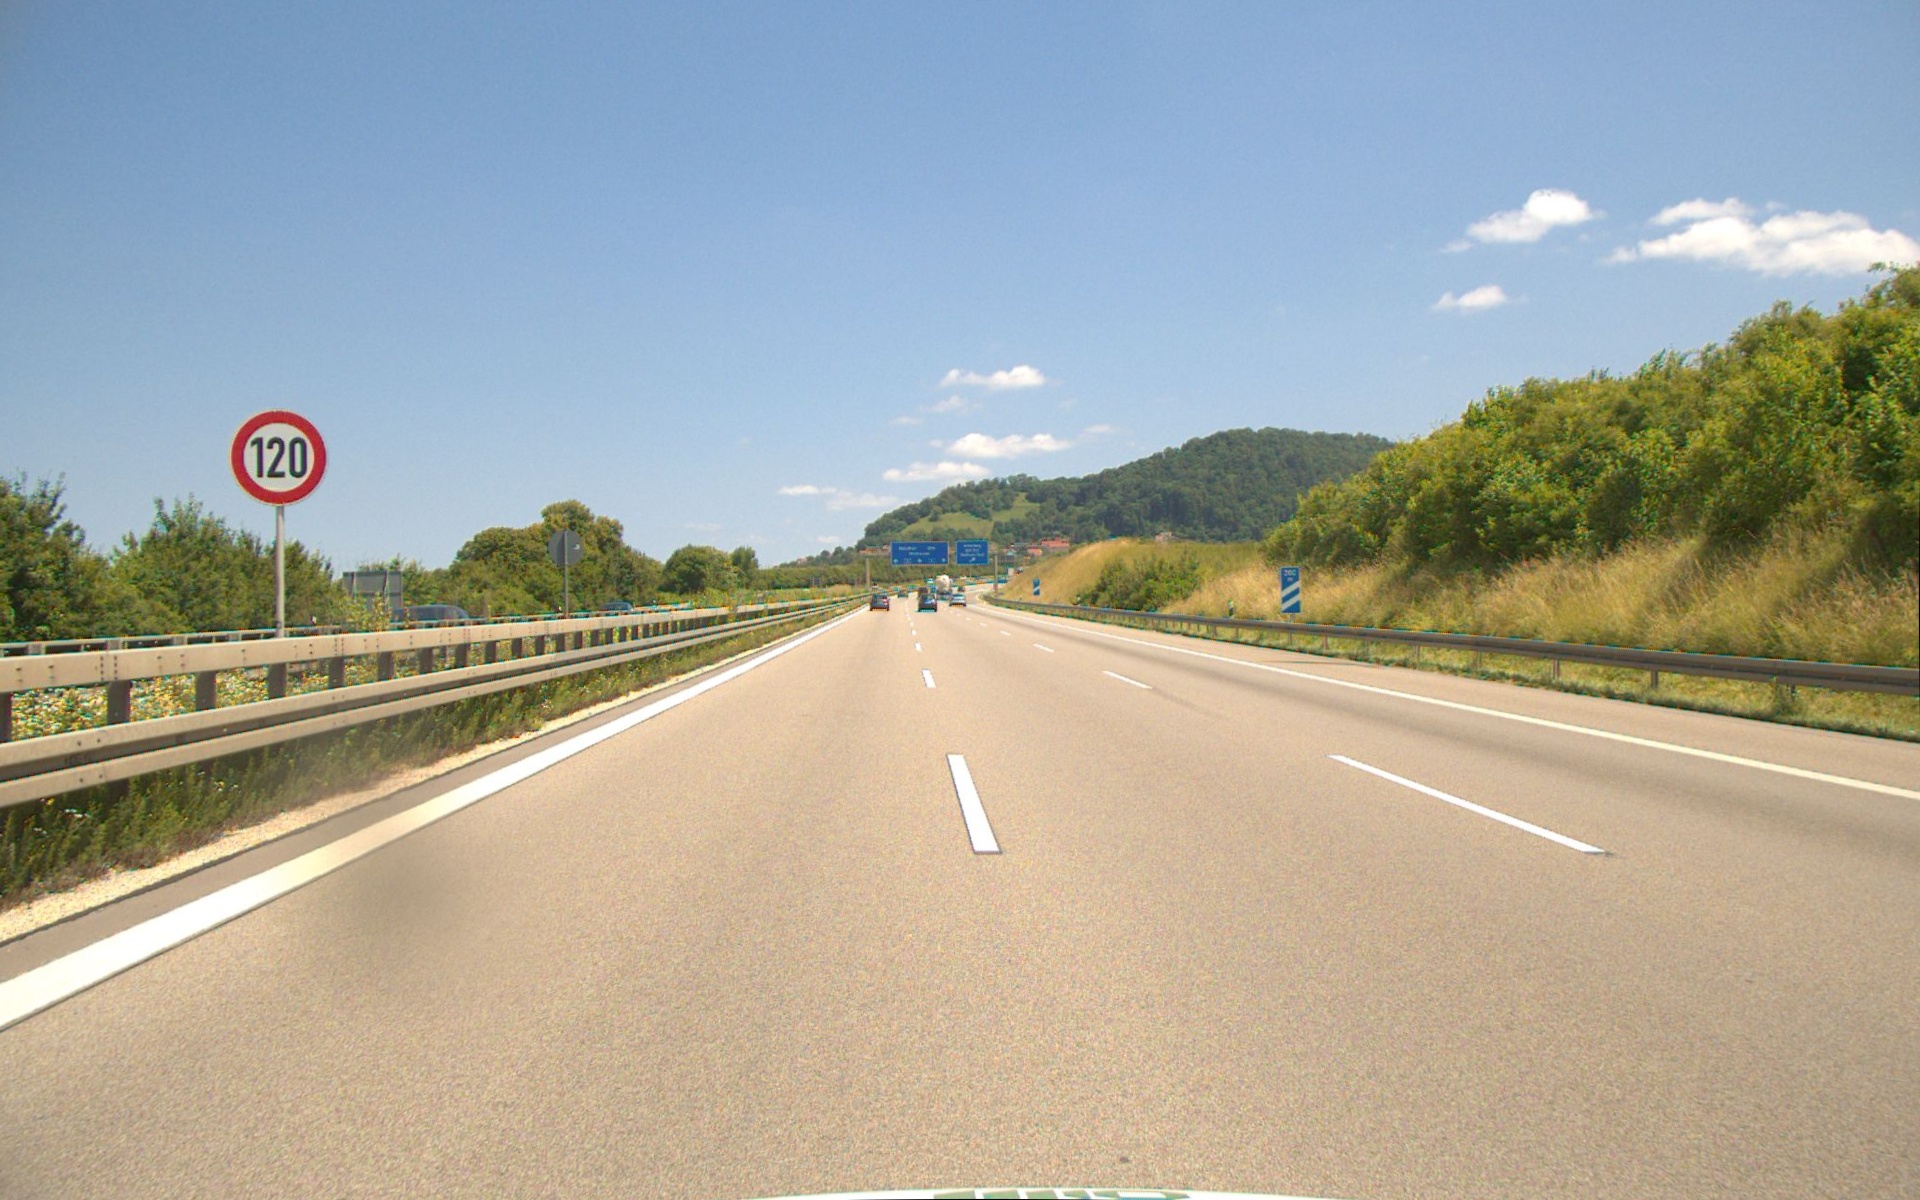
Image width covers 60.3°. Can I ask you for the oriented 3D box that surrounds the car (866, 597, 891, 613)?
[{"bbox_3d":[-6.995,0.441,142.160,1.953,1.413,3.999,1,0,-1],"label":"car"}]

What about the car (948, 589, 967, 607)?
[{"bbox_3d":[-0.305,-0.191,179.782,1.953,1.850,3.999,-2,0,-1],"label":"car"}]

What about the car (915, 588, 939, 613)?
[{"bbox_3d":[-2.806,0.042,140.044,1.953,2.049,3.999,1,-1,-1],"label":"car"}]
